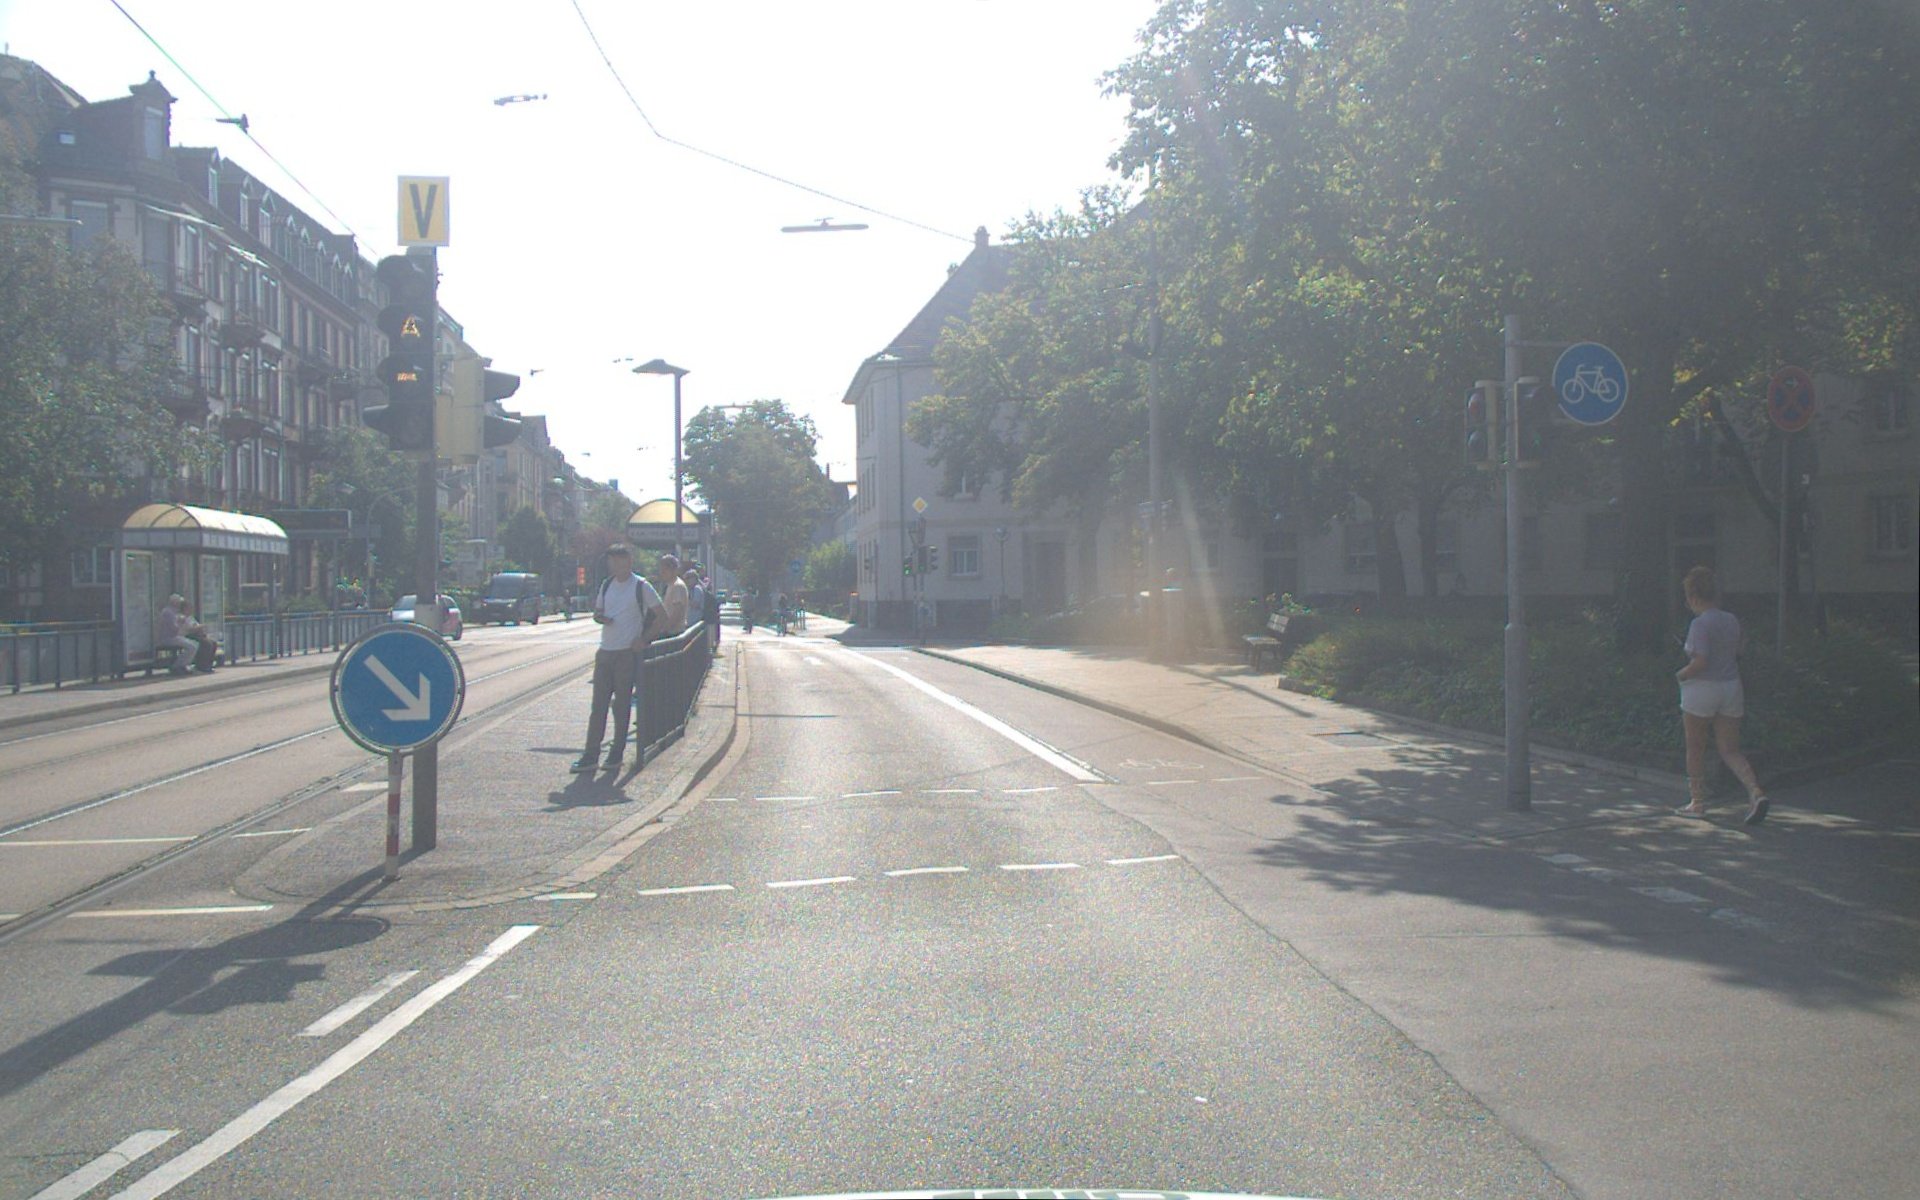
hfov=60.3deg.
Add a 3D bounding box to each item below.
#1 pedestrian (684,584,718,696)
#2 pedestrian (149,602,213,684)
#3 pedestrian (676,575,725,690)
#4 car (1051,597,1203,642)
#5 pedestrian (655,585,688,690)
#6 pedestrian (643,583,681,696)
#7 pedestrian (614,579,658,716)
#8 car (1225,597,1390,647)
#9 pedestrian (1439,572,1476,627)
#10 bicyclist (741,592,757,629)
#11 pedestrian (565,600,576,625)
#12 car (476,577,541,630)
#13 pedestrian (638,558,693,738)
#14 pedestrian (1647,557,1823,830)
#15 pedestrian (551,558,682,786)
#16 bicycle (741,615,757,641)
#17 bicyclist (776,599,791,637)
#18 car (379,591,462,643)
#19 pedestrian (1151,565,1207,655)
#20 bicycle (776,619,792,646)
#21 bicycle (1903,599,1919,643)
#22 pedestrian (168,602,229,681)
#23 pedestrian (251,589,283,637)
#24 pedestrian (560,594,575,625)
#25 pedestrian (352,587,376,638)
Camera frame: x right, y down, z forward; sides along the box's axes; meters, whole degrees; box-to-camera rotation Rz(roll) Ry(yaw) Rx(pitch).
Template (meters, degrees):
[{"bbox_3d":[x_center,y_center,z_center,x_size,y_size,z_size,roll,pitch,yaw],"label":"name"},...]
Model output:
[{"bbox_3d":[-4.231,0.645,27.038,0.494,1.790,0.533,2,2,-7],"label":"pedestrian"},{"bbox_3d":[-13.514,0.731,28.711,0.813,1.382,0.774,-1,0,-12],"label":"pedestrian"},{"bbox_3d":[-4.145,0.515,26.427,0.695,1.790,0.533,2,2,-7],"label":"pedestrian"},{"bbox_3d":[5.150,0.604,51.206,4.243,1.343,1.995,-1,0,32],"label":"car"},{"bbox_3d":[-5.050,0.643,28.948,0.494,1.790,0.533,2,2,-7],"label":"pedestrian"},{"bbox_3d":[-4.856,0.636,26.961,0.532,1.790,0.533,2,2,-7],"label":"pedestrian"},{"bbox_3d":[-4.338,0.630,22.178,0.494,1.790,0.533,2,2,-7],"label":"pedestrian"},{"bbox_3d":[10.035,0.628,47.855,4.255,1.343,1.990,-1,0,40],"label":"car"},{"bbox_3d":[16.146,-0.011,53.668,0.769,1.771,0.881,-1,0,-41],"label":"pedestrian"},{"bbox_3d":[-8.677,0.424,67.975,0.617,1.534,0.677,-1,0,-9],"label":"bicyclist"},{"bbox_3d":[-27.478,0.869,116.733,0.738,1.761,0.768,-1,0,-16],"label":"pedestrian"},{"bbox_3d":[-23.754,0.166,87.209,2.301,2.708,5.101,-1,0,-3],"label":"car"},{"bbox_3d":[-3.127,0.501,17.599,0.494,1.865,0.533,2,2,-7],"label":"pedestrian"},{"bbox_3d":[5.214,0.603,11.157,0.738,1.761,0.768,-1,0,-16],"label":"pedestrian"},{"bbox_3d":[-2.768,0.549,13.351,0.686,1.755,0.747,3,2,25],"label":"pedestrian"},{"bbox_3d":[-8.672,1.146,67.977,0.617,0.995,1.766,-1,0,-9],"label":"bicycle"},{"bbox_3d":[-6.907,0.696,64.732,0.547,1.441,0.870,-1,0,-9],"label":"bicyclist"},{"bbox_3d":[-18.155,0.550,55.825,1.766,1.682,3.640,-1,0,-3],"label":"car"},{"bbox_3d":[4.385,0.205,33.159,0.874,1.771,0.775,-1,0,29],"label":"pedestrian"},{"bbox_3d":[-6.890,1.257,64.719,0.547,0.995,1.852,-1,0,-9],"label":"bicycle"},{"bbox_3d":[22.218,0.477,37.646,0.417,0.995,1.552,-1,0,-10],"label":"bicycle"},{"bbox_3d":[-13.657,0.733,29.676,0.813,1.382,0.774,-1,0,-12],"label":"pedestrian"},{"bbox_3d":[-25.662,0.473,61.254,0.735,1.761,0.771,-1,0,24],"label":"pedestrian"},{"bbox_3d":[-22.076,0.537,93.057,0.738,1.761,0.768,-1,0,-16],"label":"pedestrian"},{"bbox_3d":[-20.788,0.420,57.701,0.738,1.761,0.768,-1,0,-16],"label":"pedestrian"}]
